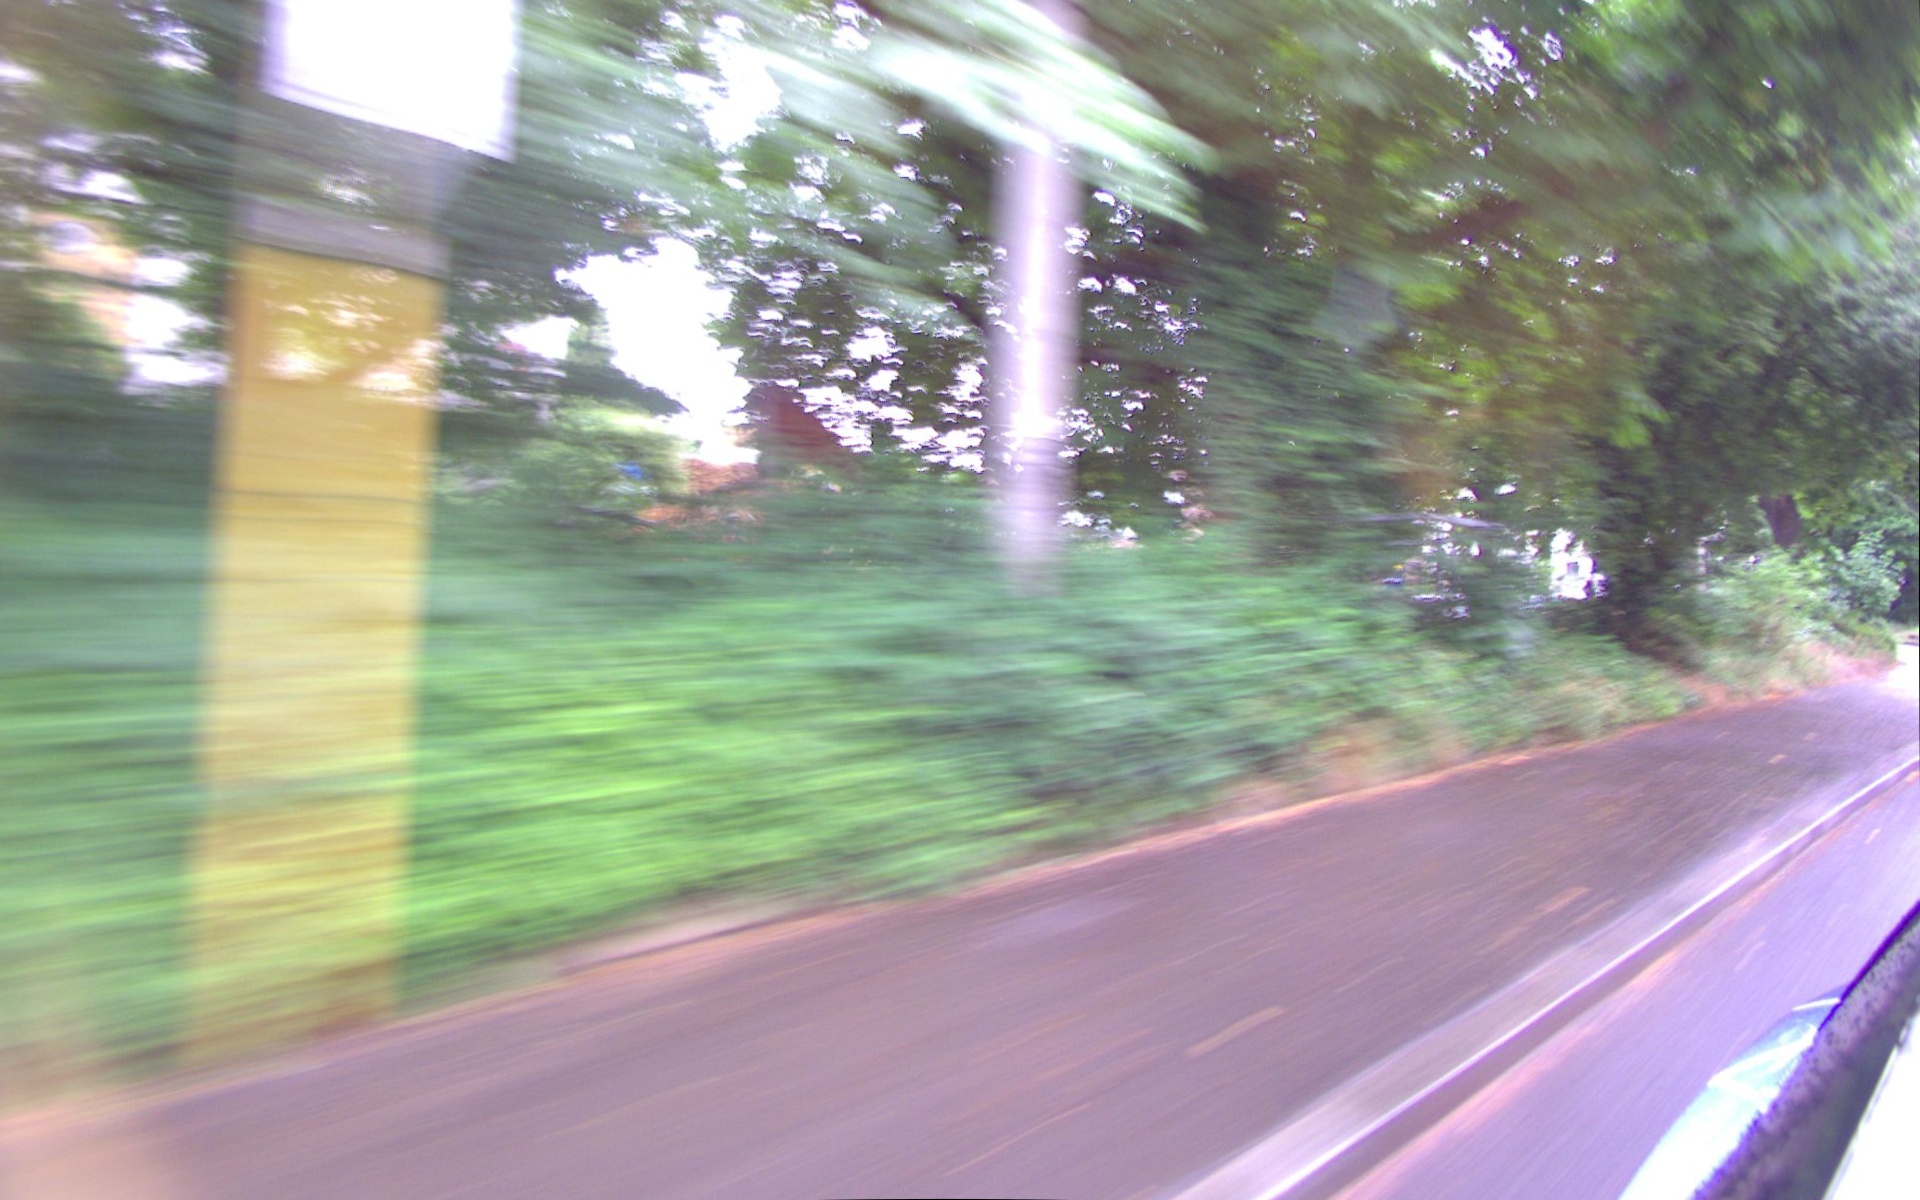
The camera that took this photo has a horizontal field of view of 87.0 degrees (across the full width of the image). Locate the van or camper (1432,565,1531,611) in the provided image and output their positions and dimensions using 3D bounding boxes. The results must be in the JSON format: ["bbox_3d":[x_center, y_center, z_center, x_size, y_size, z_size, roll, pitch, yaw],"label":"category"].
[{"bbox_3d":[22.672,-0.570,44.273,1.965,1.857,5.176,1,1,5],"label":"van or camper"}]

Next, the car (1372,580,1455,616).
[{"bbox_3d":[19.457,-0.098,43.629,1.964,1.483,3.997,0,0,3],"label":"car"}]
